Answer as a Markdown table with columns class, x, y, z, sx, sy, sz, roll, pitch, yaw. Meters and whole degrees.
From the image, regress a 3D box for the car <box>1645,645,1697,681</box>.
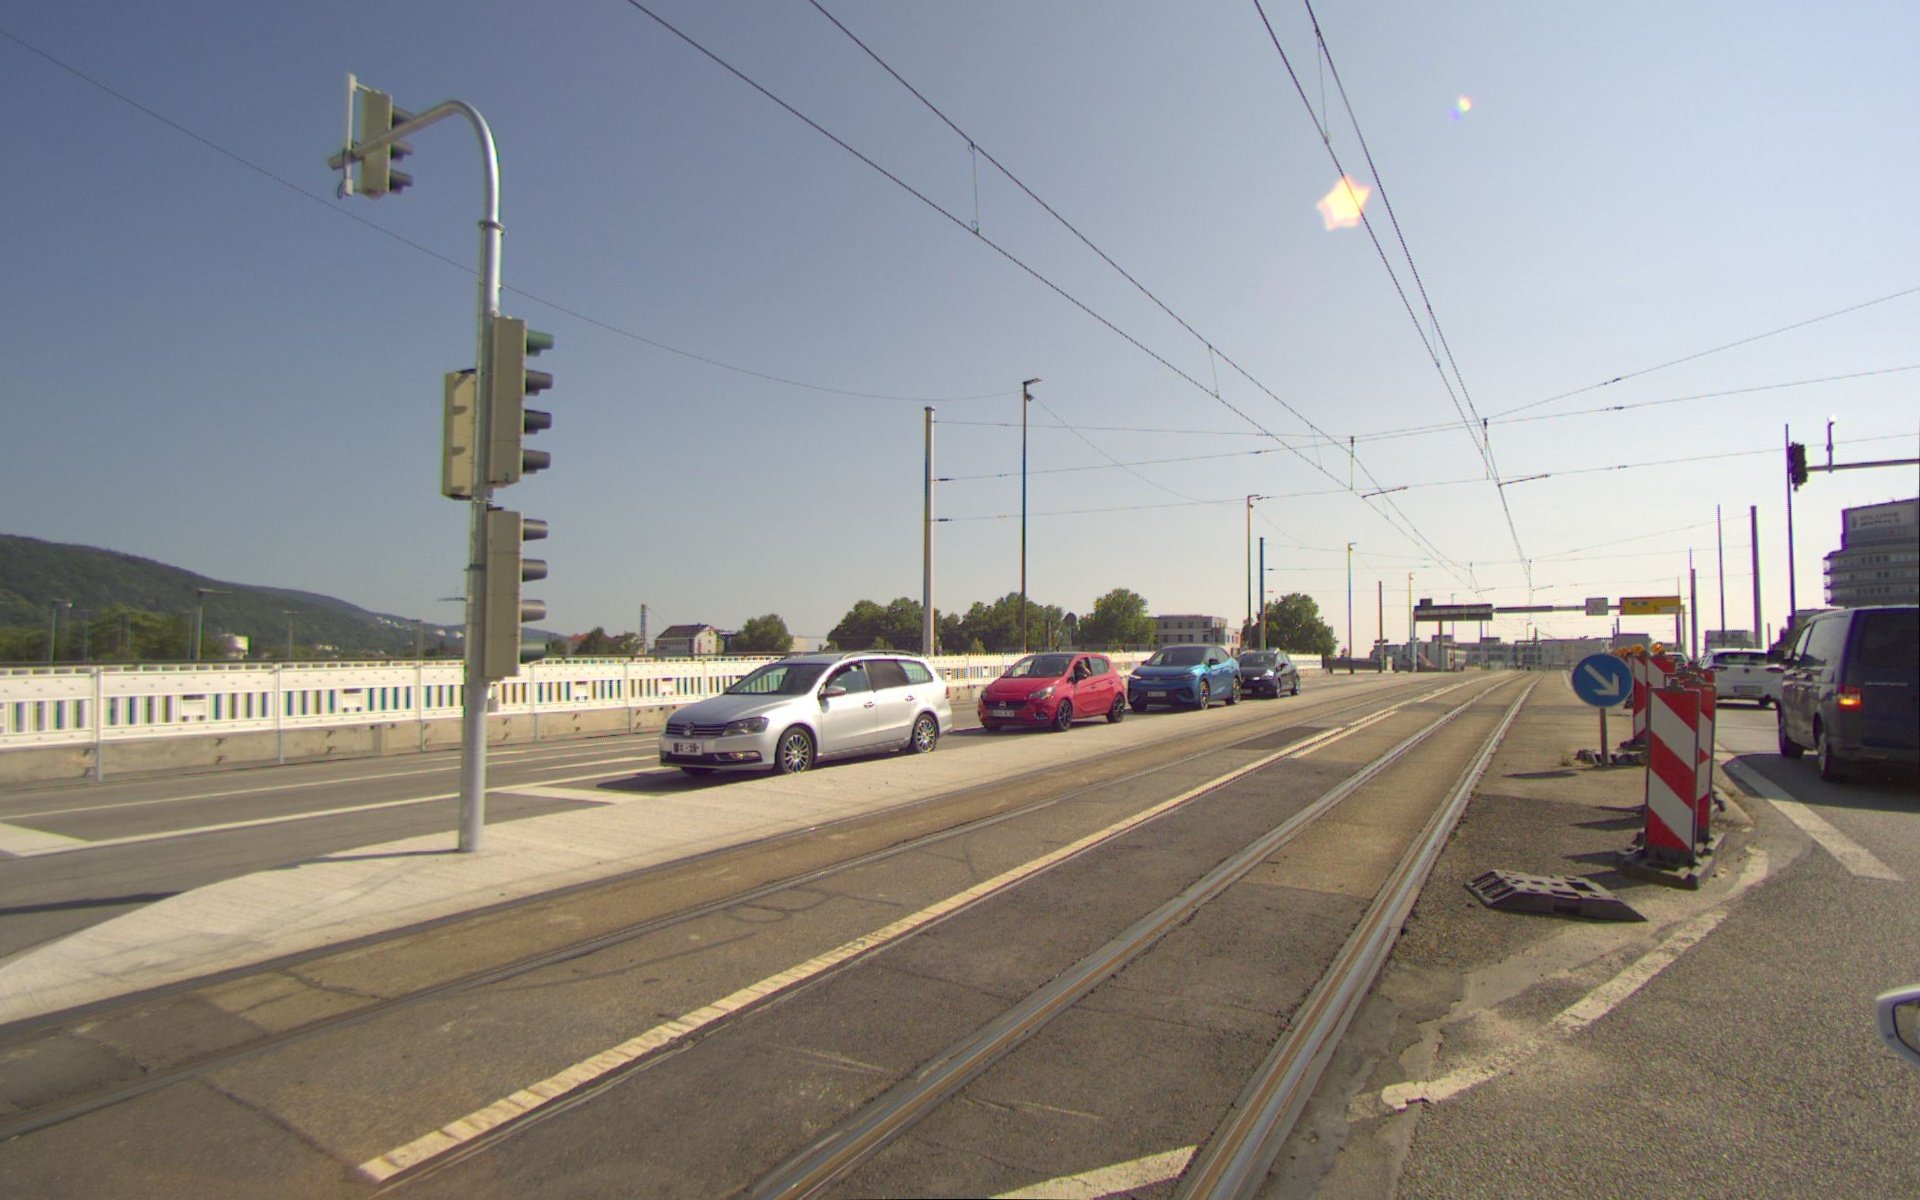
| class | x | y | z | sx | sy | sz | roll | pitch | yaw |
| --- | --- | --- | --- | --- | --- | --- | --- | --- | --- |
| car | 32.369 | 2.841 | 45.793 | 1.693 | 1.552 | 3.689 | -1 | -3 | 32 |

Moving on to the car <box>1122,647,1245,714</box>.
| class | x | y | z | sx | sy | sz | roll | pitch | yaw |
| --- | --- | --- | --- | --- | --- | --- | --- | --- | --- |
| car | 5.791 | 1.998 | 25.665 | 1.646 | 1.570 | 4.546 | -3 | -4 | 31 |

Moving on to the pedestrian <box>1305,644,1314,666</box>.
| class | x | y | z | sx | sy | sz | roll | pitch | yaw |
| --- | --- | --- | --- | --- | --- | --- | --- | --- | --- |
| pedestrian | 30.887 | 4.837 | 88.850 | 0.625 | 1.918 | 0.750 | -1 | -3 | 32 |

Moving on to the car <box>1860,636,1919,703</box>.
| class | x | y | z | sx | sy | sz | roll | pitch | yaw |
| --- | --- | --- | --- | --- | --- | --- | --- | --- | --- |
| car | 31.052 | 2.259 | 32.691 | 1.853 | 2.059 | 4.879 | 0 | -3 | 33 |

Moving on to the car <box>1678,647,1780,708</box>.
| class | x | y | z | sx | sy | sz | roll | pitch | yaw |
| --- | --- | --- | --- | --- | --- | --- | --- | --- | --- |
| car | 19.601 | 1.929 | 25.725 | 1.693 | 1.423 | 3.405 | -1 | -3 | 32 |

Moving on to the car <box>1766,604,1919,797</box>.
| class | x | y | z | sx | sy | sz | roll | pitch | yaw |
| --- | --- | --- | --- | --- | --- | --- | --- | --- | --- |
| car | 10.874 | 1.075 | 11.692 | 1.790 | 1.930 | 4.045 | -2 | -3 | 32 |

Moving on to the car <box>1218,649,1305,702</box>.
| class | x | y | z | sx | sy | sz | roll | pitch | yaw |
| --- | --- | --- | --- | --- | --- | --- | --- | --- | --- |
| car | 9.439 | 2.319 | 31.283 | 1.485 | 1.520 | 4.168 | -4 | -4 | 32 |

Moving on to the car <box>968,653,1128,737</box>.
| class | x | y | z | sx | sy | sz | roll | pitch | yaw |
| --- | --- | --- | --- | --- | --- | --- | --- | --- | --- |
| car | 1.840 | 1.805 | 19.778 | 1.512 | 1.456 | 3.971 | -3 | -4 | 31 |

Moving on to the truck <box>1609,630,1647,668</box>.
| class | x | y | z | sx | sy | sz | roll | pitch | yaw |
| --- | --- | --- | --- | --- | --- | --- | --- | --- | --- |
| truck | 59.730 | 4.359 | 90.013 | 2.426 | 3.175 | 11.190 | -2 | -3 | 32 |

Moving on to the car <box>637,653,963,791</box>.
| class | x | y | z | sx | sy | sz | roll | pitch | yaw |
| --- | --- | --- | --- | --- | --- | --- | --- | --- | --- |
| car | -1.850 | 1.472 | 13.161 | 1.614 | 1.455 | 4.634 | -5 | -5 | 30 |
